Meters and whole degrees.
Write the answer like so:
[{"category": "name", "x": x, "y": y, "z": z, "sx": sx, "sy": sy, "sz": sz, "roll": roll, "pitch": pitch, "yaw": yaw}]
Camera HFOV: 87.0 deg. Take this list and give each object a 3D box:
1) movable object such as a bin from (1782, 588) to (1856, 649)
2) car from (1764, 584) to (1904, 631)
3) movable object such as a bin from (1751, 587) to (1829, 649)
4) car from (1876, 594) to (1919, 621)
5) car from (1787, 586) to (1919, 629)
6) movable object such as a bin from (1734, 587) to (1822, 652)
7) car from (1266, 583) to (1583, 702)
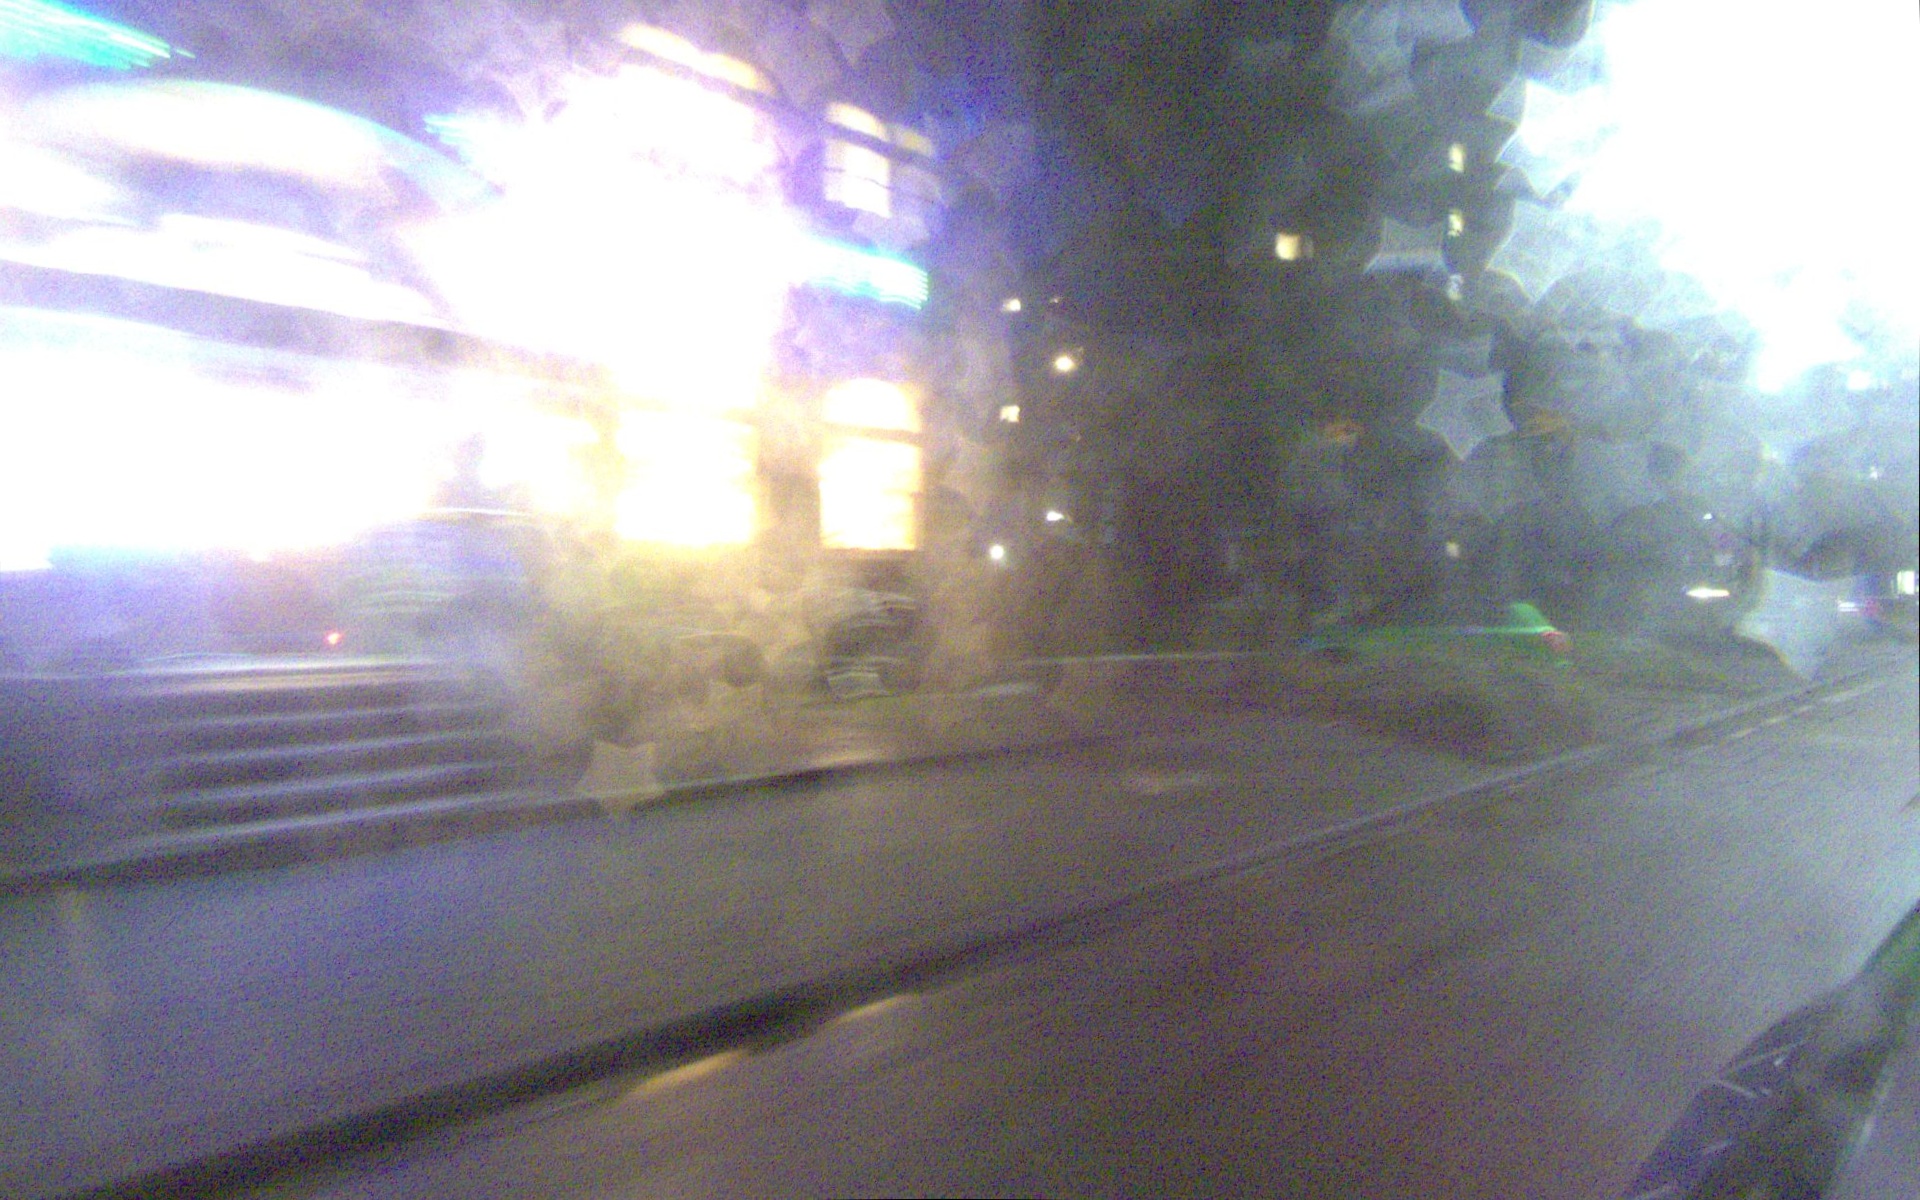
[{"category": "movable object such as a bin", "x": 21.746, "y": 0.441, "z": 25.620, "sx": 1.322, "sy": 1.425, "sz": 1.141, "roll": 4, "pitch": 3, "yaw": 44}, {"category": "car", "x": 32.509, "y": 0.249, "z": 37.781, "sx": 3.677, "sy": 1.536, "sz": 1.640, "roll": 3, "pitch": 2, "yaw": 31}, {"category": "movable object such as a bin", "x": 20.633, "y": 0.421, "z": 25.177, "sx": 1.080, "sy": 1.440, "sz": 1.212, "roll": 0, "pitch": 3, "yaw": -35}, {"category": "car", "x": 54.272, "y": 0.433, "z": 56.537, "sx": 4.273, "sy": 1.486, "sz": 1.676, "roll": 1, "pitch": 1, "yaw": 11}, {"category": "car", "x": 35.462, "y": 0.273, "z": 39.564, "sx": 4.562, "sy": 1.493, "sz": 1.820, "roll": 3, "pitch": 2, "yaw": 30}, {"category": "movable object such as a bin", "x": 19.766, "y": 0.446, "z": 24.469, "sx": 1.052, "sy": 1.440, "sz": 1.373, "roll": 0, "pitch": 3, "yaw": -35}, {"category": "car", "x": 6.807, "y": 0.531, "z": 15.175, "sx": 4.062, "sy": 1.556, "sz": 1.944, "roll": 1, "pitch": 1, "yaw": 25}]
